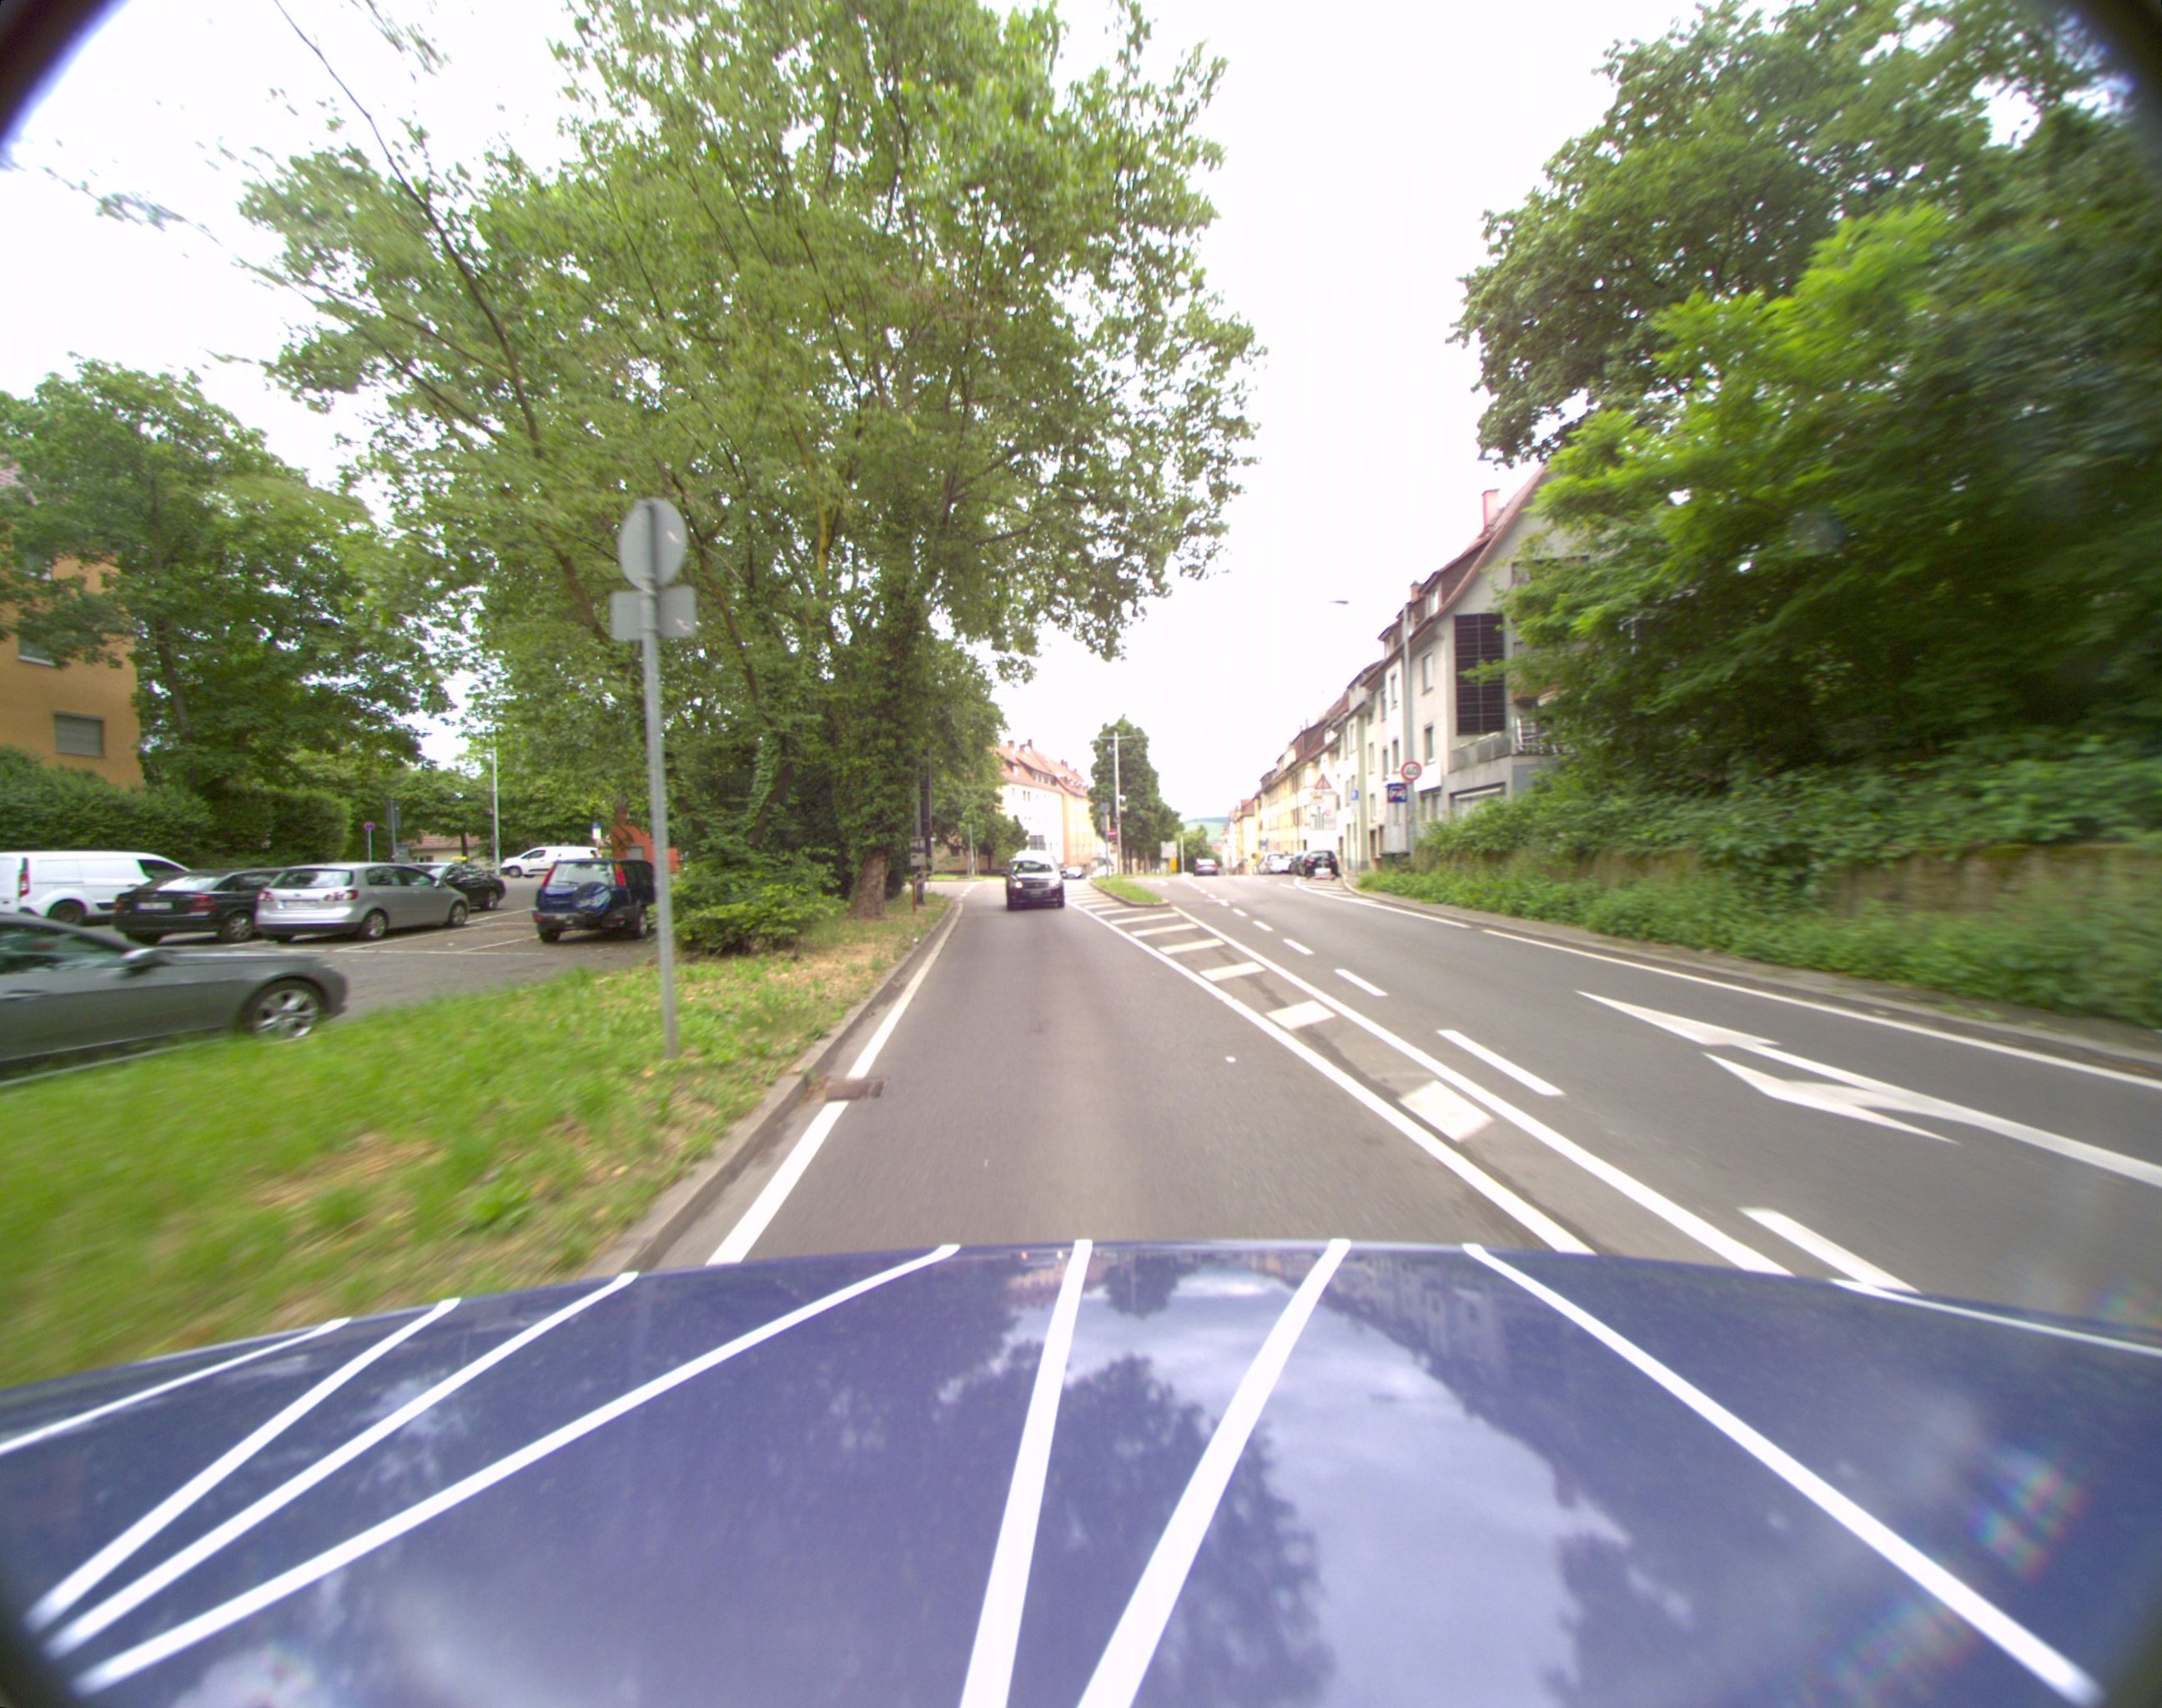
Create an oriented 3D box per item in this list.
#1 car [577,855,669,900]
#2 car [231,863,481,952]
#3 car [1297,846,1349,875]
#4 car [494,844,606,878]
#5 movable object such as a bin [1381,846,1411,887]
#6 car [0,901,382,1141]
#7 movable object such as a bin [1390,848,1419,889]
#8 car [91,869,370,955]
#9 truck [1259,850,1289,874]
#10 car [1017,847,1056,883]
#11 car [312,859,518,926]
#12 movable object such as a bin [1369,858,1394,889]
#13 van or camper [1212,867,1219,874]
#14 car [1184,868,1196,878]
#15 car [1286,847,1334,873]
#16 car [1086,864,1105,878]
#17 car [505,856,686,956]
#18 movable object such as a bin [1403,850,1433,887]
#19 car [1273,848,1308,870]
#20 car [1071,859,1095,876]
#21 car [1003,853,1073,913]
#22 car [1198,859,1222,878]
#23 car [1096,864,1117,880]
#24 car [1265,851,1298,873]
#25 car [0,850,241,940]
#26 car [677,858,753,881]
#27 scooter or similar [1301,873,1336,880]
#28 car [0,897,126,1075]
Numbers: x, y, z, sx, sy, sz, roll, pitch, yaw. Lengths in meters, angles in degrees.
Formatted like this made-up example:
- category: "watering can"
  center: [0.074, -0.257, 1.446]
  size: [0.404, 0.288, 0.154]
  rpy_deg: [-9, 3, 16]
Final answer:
- category: "car"
  center: [-18.421, 0.899, 30.467]
  size: [4.412, 1.476, 1.867]
  rpy_deg: [3, 0, 41]
- category: "car"
  center: [-15.046, 1.018, 16.141]
  size: [1.737, 1.560, 4.127]
  rpy_deg: [1, 1, -8]
- category: "car"
  center: [12.654, 0.373, 39.997]
  size: [1.997, 1.392, 4.522]
  rpy_deg: [-1, -1, 10]
- category: "car"
  center: [-30.008, 0.388, 43.112]
  size: [4.846, 1.779, 1.787]
  rpy_deg: [-1, 2, -13]
- category: "movable object such as a bin"
  center: [9.595, 0.387, 23.173]
  size: [0.606, 1.178, 0.492]
  rpy_deg: [-5, 0, -6]
- category: "car"
  center: [-8.119, 1.212, 5.177]
  size: [1.789, 1.433, 5.064]
  rpy_deg: [-1, 0, 4]
- category: "movable object such as a bin"
  center: [9.651, 0.439, 22.672]
  size: [0.582, 1.178, 0.430]
  rpy_deg: [-5, 0, -6]
- category: "car"
  center: [-17.371, 1.094, 15.877]
  size: [1.738, 1.420, 4.126]
  rpy_deg: [1, 1, -11]
- category: "truck"
  center: [16.529, 0.700, 65.305]
  size: [1.997, 1.908, 5.352]
  rpy_deg: [-1, -2, 8]
- category: "car"
  center: [-2.293, 0.522, 38.915]
  size: [1.780, 1.598, 4.161]
  rpy_deg: [-4, 1, -3]
- category: "car"
  center: [-17.983, 0.943, 20.916]
  size: [2.000, 1.569, 4.900]
  rpy_deg: [-1, 0, -10]
- category: "movable object such as a bin"
  center: [9.502, 0.613, 24.001]
  size: [0.517, 0.962, 0.444]
  rpy_deg: [-5, 0, -6]
- category: "van or camper"
  center: [39.156, 4.814, 220.958]
  size: [1.911, 1.750, 4.660]
  rpy_deg: [-2, -2, 10]
- category: "car"
  center: [17.115, 3.025, 119.642]
  size: [1.749, 1.458, 4.591]
  rpy_deg: [-2, -2, 9]
- category: "car"
  center: [13.694, 0.384, 45.677]
  size: [1.998, 1.414, 4.215]
  rpy_deg: [-1, -2, 6]
- category: "car"
  center: [1.652, 1.909, 88.071]
  size: [1.783, 1.583, 3.536]
  rpy_deg: [1, 0, 7]
- category: "car"
  center: [-9.897, 0.929, 15.980]
  size: [1.816, 1.655, 4.877]
  rpy_deg: [0, 1, -15]
- category: "movable object such as a bin"
  center: [9.604, 0.406, 21.661]
  size: [0.557, 1.019, 0.430]
  rpy_deg: [-5, 0, -6]
- category: "car"
  center: [15.017, 0.381, 54.622]
  size: [1.997, 1.465, 4.163]
  rpy_deg: [-1, -2, 10]
- category: "car"
  center: [0.230, 1.313, 72.742]
  size: [1.783, 1.583, 3.536]
  rpy_deg: [1, 0, 7]
- category: "car"
  center: [-1.166, 0.780, 22.291]
  size: [1.604, 1.449, 3.684]
  rpy_deg: [-3, 1, 3]
- category: "car"
  center: [12.161, 1.334, 71.731]
  size: [1.874, 1.688, 4.938]
  rpy_deg: [-1, 0, 5]
- category: "car"
  center: [2.582, 1.824, 77.442]
  size: [1.783, 1.583, 3.536]
  rpy_deg: [1, 0, 7]
- category: "car"
  center: [15.688, 0.676, 59.592]
  size: [1.997, 1.543, 4.386]
  rpy_deg: [-1, -2, 8]
- category: "car"
  center: [-24.137, 0.880, 18.674]
  size: [1.999, 1.875, 4.597]
  rpy_deg: [-1, 1, -4]
- category: "car"
  center: [-23.294, 0.986, 48.519]
  size: [4.133, 1.420, 1.735]
  rpy_deg: [1, 0, -16]
- category: "scooter or similar"
  center: [10.283, 0.965, 32.902]
  size: [1.127, 0.286, 1.098]
  rpy_deg: [-1, 0, -6]
- category: "car"
  center: [-10.679, 1.225, 5.408]
  size: [1.789, 1.549, 4.595]
  rpy_deg: [-1, 0, 4]
